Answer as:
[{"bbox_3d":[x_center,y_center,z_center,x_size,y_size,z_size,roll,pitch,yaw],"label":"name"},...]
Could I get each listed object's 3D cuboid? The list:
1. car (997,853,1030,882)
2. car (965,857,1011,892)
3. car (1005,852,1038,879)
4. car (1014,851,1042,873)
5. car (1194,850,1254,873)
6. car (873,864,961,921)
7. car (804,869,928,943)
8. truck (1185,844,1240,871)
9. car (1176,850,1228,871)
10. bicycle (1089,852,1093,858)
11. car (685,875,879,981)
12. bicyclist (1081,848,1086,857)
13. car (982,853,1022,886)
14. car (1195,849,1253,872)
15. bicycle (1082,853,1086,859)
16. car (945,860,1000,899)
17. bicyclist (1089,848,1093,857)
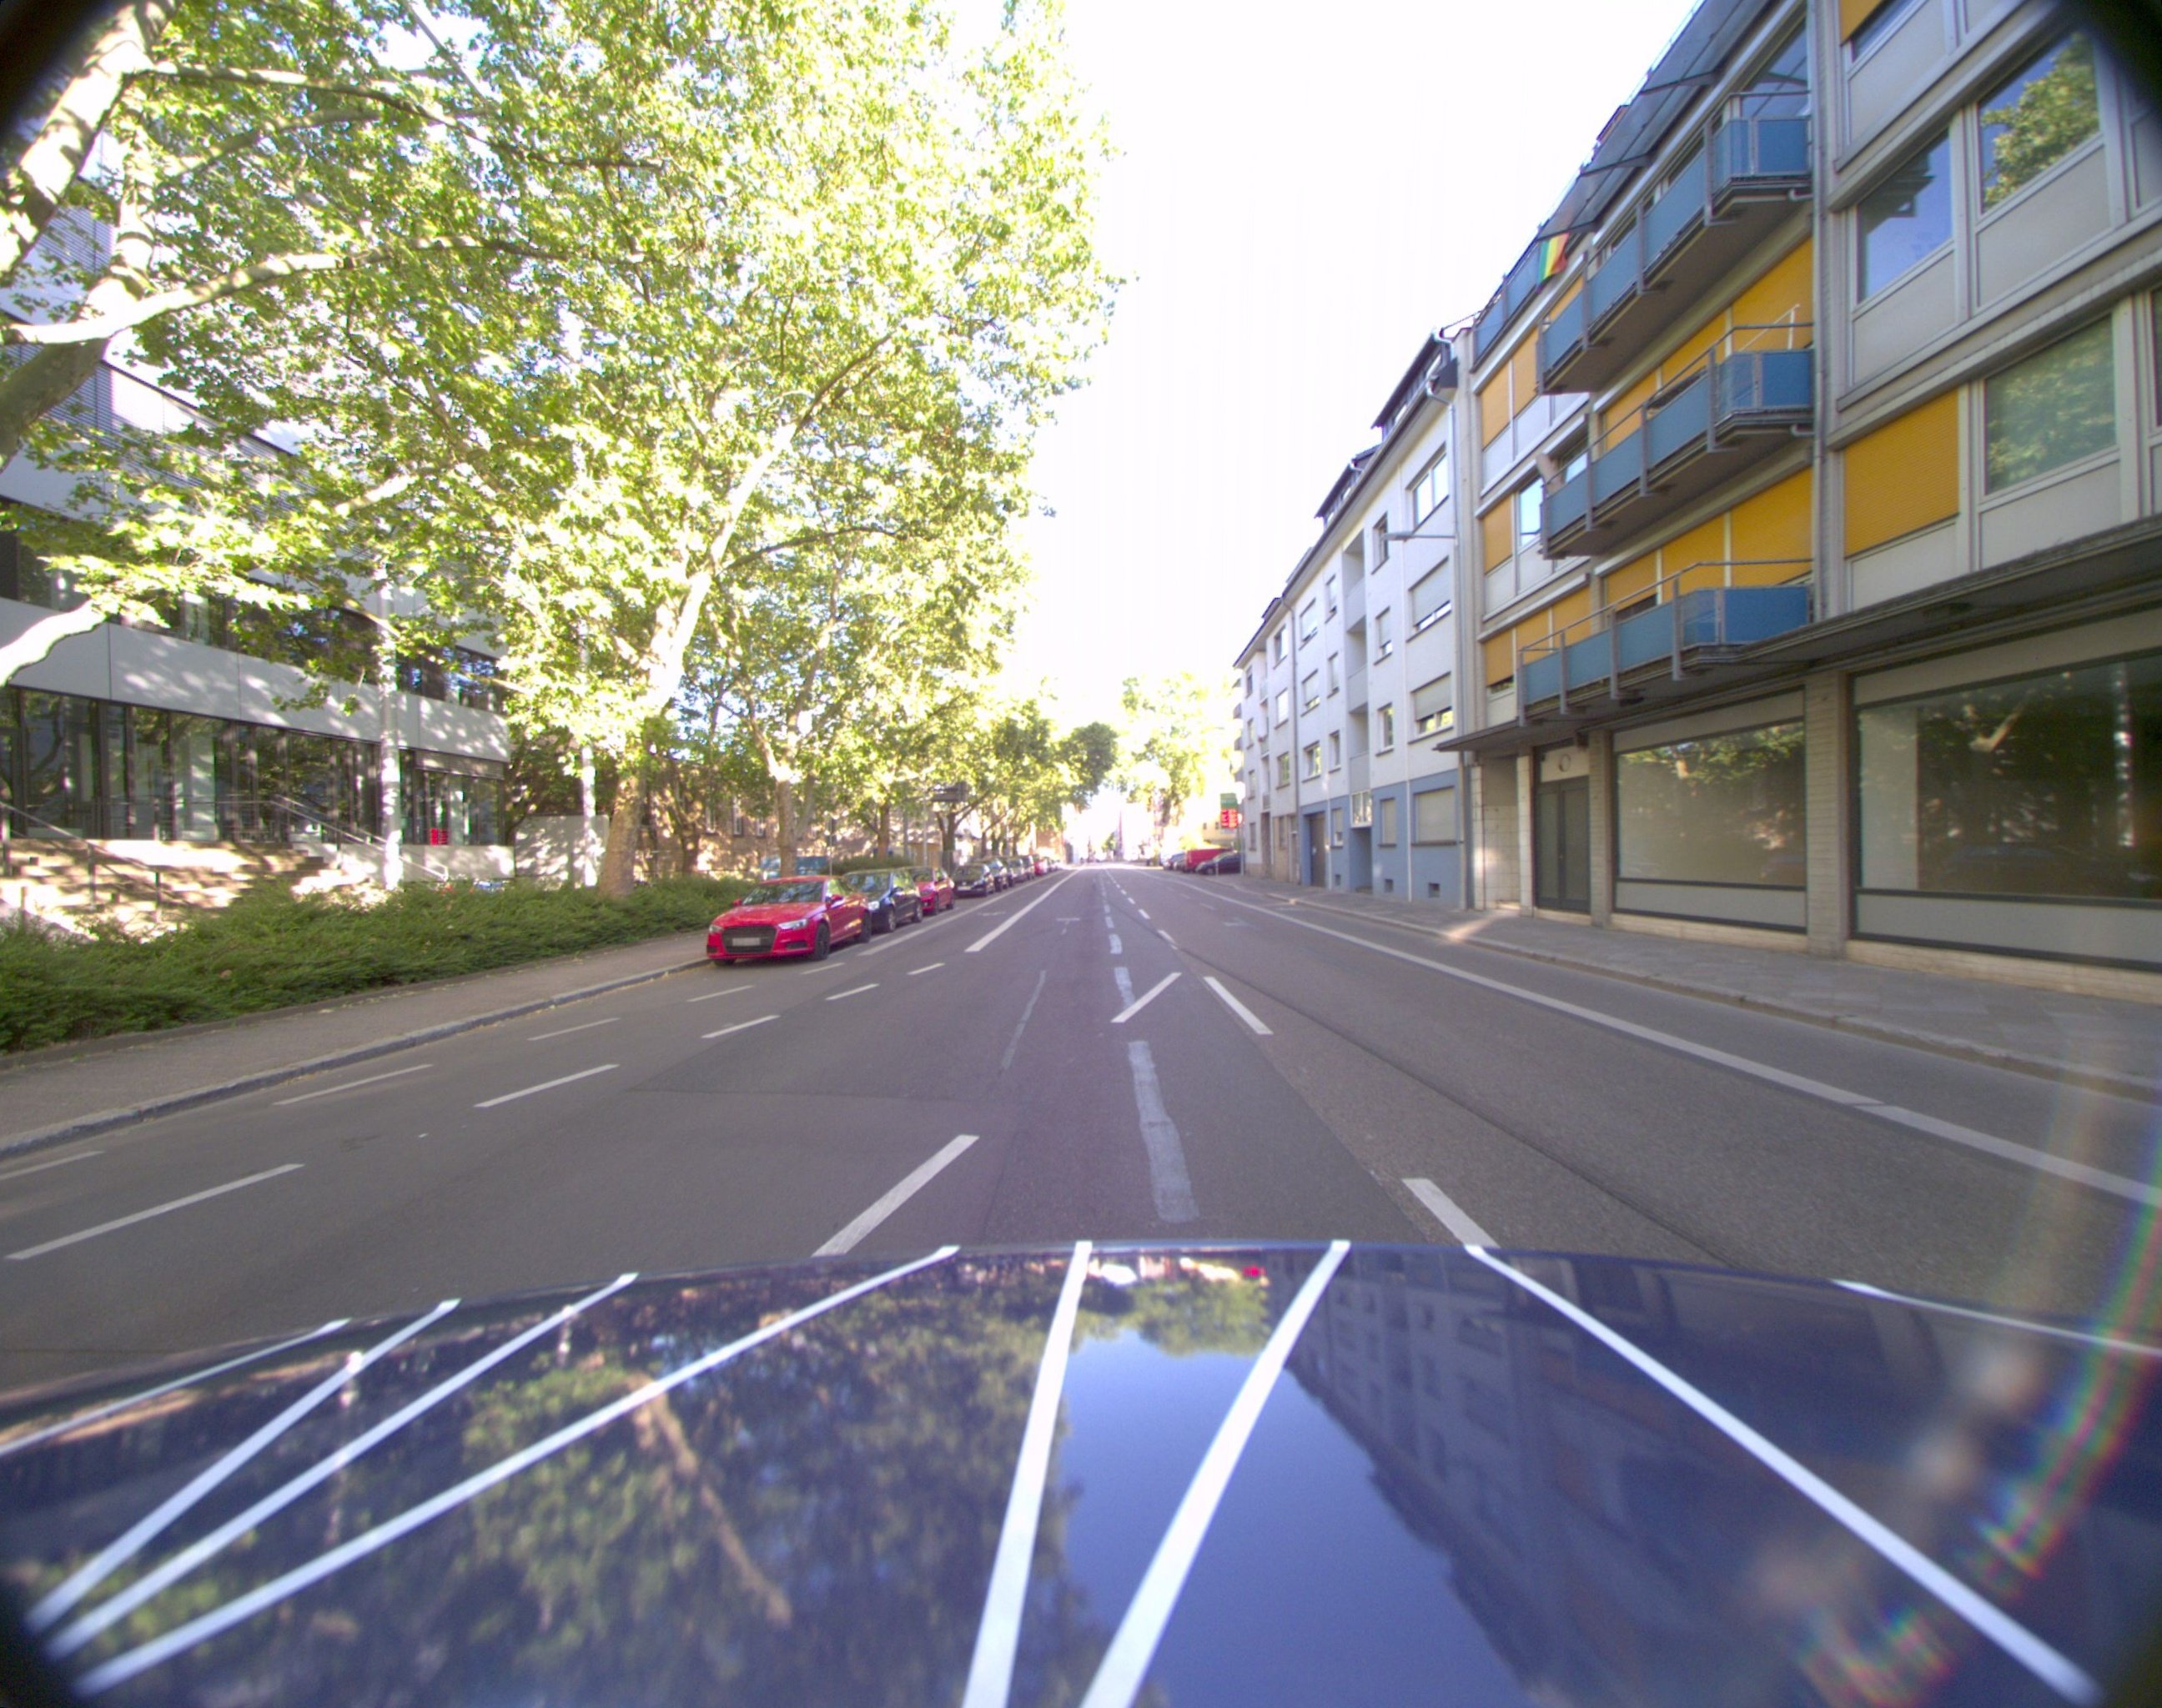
[{"bbox_3d":[-4.444,0.853,50.711,1.790,1.745,4.552,-3,0,0],"label":"car"},{"bbox_3d":[-4.599,0.979,38.139,1.790,1.544,4.163,-3,0,0],"label":"car"},{"bbox_3d":[-4.315,0.797,55.670,2.042,1.745,4.552,-3,0,0],"label":"car"},{"bbox_3d":[-4.589,0.700,66.100,2.042,1.745,4.552,-3,0,0],"label":"car"},{"bbox_3d":[10.256,0.546,54.802,3.996,1.449,1.761,-2,1,2],"label":"car"},{"bbox_3d":[-5.028,1.125,23.867,1.818,1.475,4.163,-3,0,0],"label":"car"},{"bbox_3d":[-5.081,1.171,18.584,1.818,1.405,4.163,-3,0,0],"label":"car"},{"bbox_3d":[10.370,0.246,59.999,3.996,1.925,1.761,-2,1,2],"label":"truck"},{"bbox_3d":[9.980,0.526,62.852,3.996,1.494,1.761,-2,1,2],"label":"car"},{"bbox_3d":[1.866,0.218,143.887,0.717,1.052,2.485,-2,1,1],"label":"bicycle"},{"bbox_3d":[-5.136,1.193,13.728,1.818,1.405,4.163,-3,0,0],"label":"car"},{"bbox_3d":[0.487,-0.247,143.025,0.718,1.573,0.936,-2,1,1],"label":"bicyclist"},{"bbox_3d":[-4.522,0.870,44.156,1.790,1.745,4.345,-3,0,0],"label":"car"},{"bbox_3d":[10.730,0.479,57.149,3.996,1.494,1.761,-2,1,2],"label":"car"},{"bbox_3d":[0.499,0.288,142.954,0.717,1.052,2.485,-2,1,1],"label":"bicycle"},{"bbox_3d":[-4.701,1.078,33.394,1.790,1.451,4.163,-3,0,0],"label":"car"},{"bbox_3d":[1.836,-0.314,143.846,0.718,1.573,0.936,-2,1,1],"label":"bicyclist"}]
